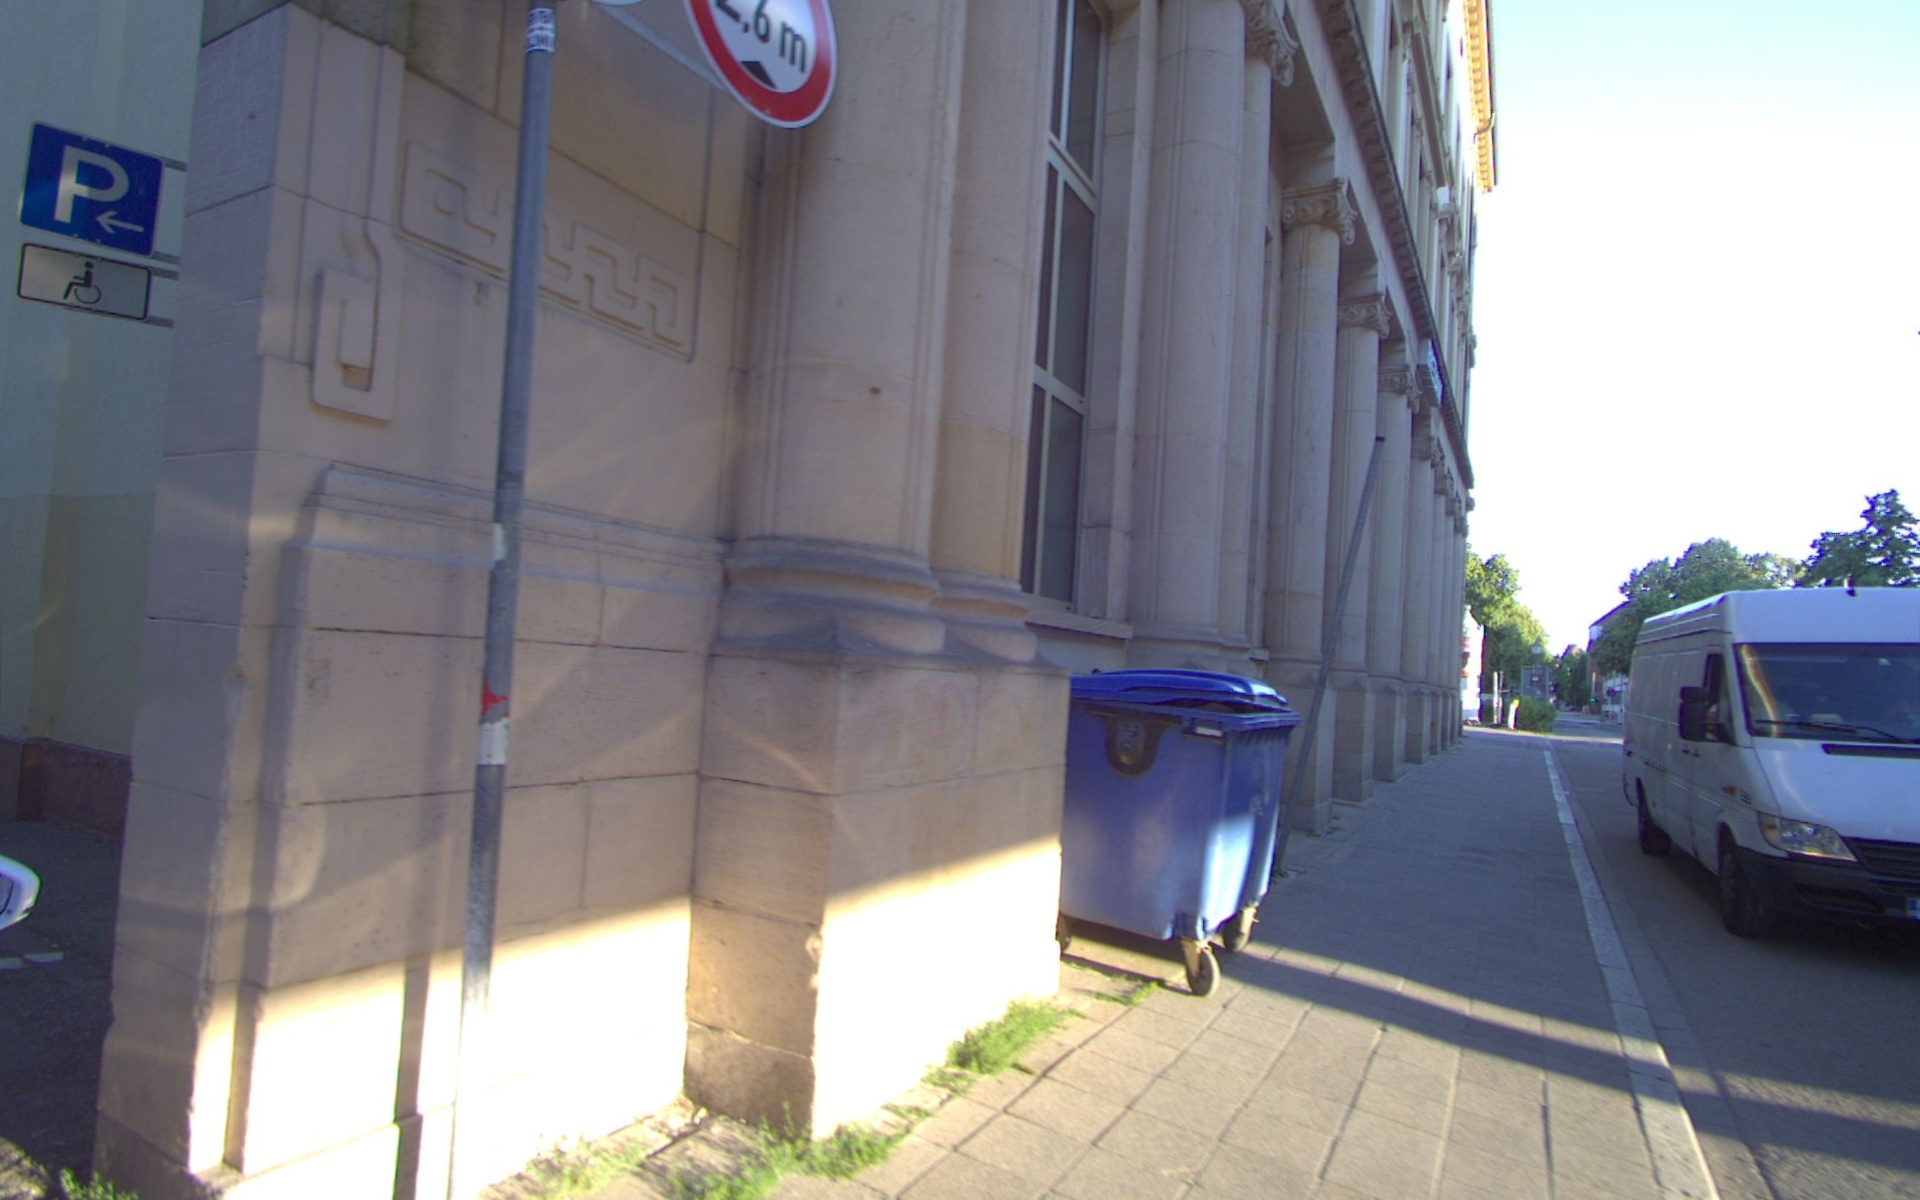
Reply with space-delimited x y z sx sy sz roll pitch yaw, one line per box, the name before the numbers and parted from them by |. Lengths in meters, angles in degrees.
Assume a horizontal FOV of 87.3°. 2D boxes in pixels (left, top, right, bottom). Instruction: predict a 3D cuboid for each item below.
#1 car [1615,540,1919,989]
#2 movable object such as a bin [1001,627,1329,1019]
car | 7.159 1.184 8.478 1.968 2.540 6.466 1 -4 26
movable object such as a bin | 1.016 0.955 4.824 1.060 1.492 1.184 5 -2 34
